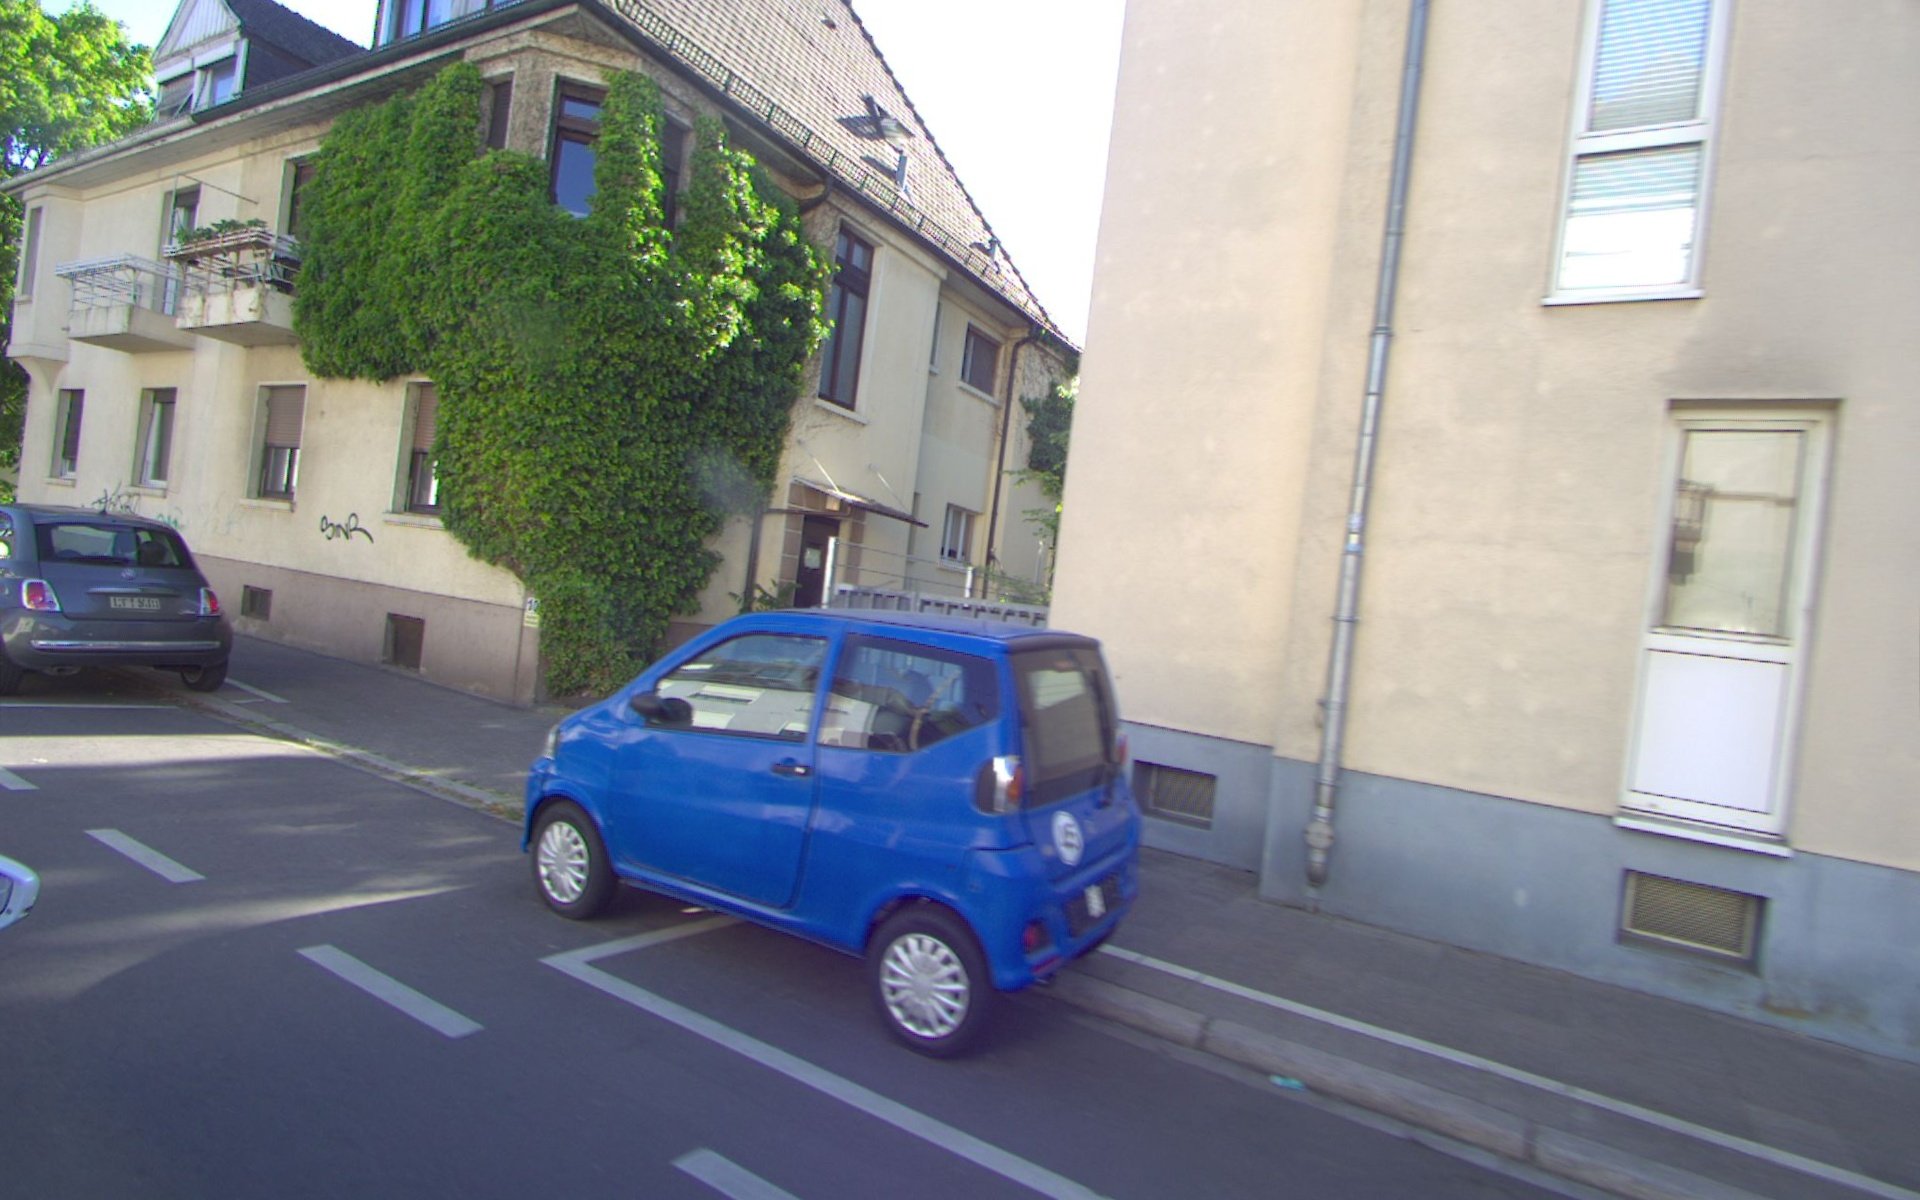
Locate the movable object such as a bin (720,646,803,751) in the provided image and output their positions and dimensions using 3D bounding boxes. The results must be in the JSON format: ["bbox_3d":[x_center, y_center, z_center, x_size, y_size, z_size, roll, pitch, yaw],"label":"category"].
[{"bbox_3d":[-1.936,0.953,9.823,0.506,0.927,0.494,7,0,29],"label":"movable object such as a bin"}]

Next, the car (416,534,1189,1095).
[{"bbox_3d":[-0.806,0.729,4.755,3.238,1.617,1.461,7,-2,30],"label":"car"}]

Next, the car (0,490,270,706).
[{"bbox_3d":[-8.027,-0.109,8.956,3.489,1.543,1.606,7,-2,30],"label":"car"}]

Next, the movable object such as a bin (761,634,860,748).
[{"bbox_3d":[-1.552,0.938,10.455,0.628,1.070,0.673,7,0,29],"label":"movable object such as a bin"}]
